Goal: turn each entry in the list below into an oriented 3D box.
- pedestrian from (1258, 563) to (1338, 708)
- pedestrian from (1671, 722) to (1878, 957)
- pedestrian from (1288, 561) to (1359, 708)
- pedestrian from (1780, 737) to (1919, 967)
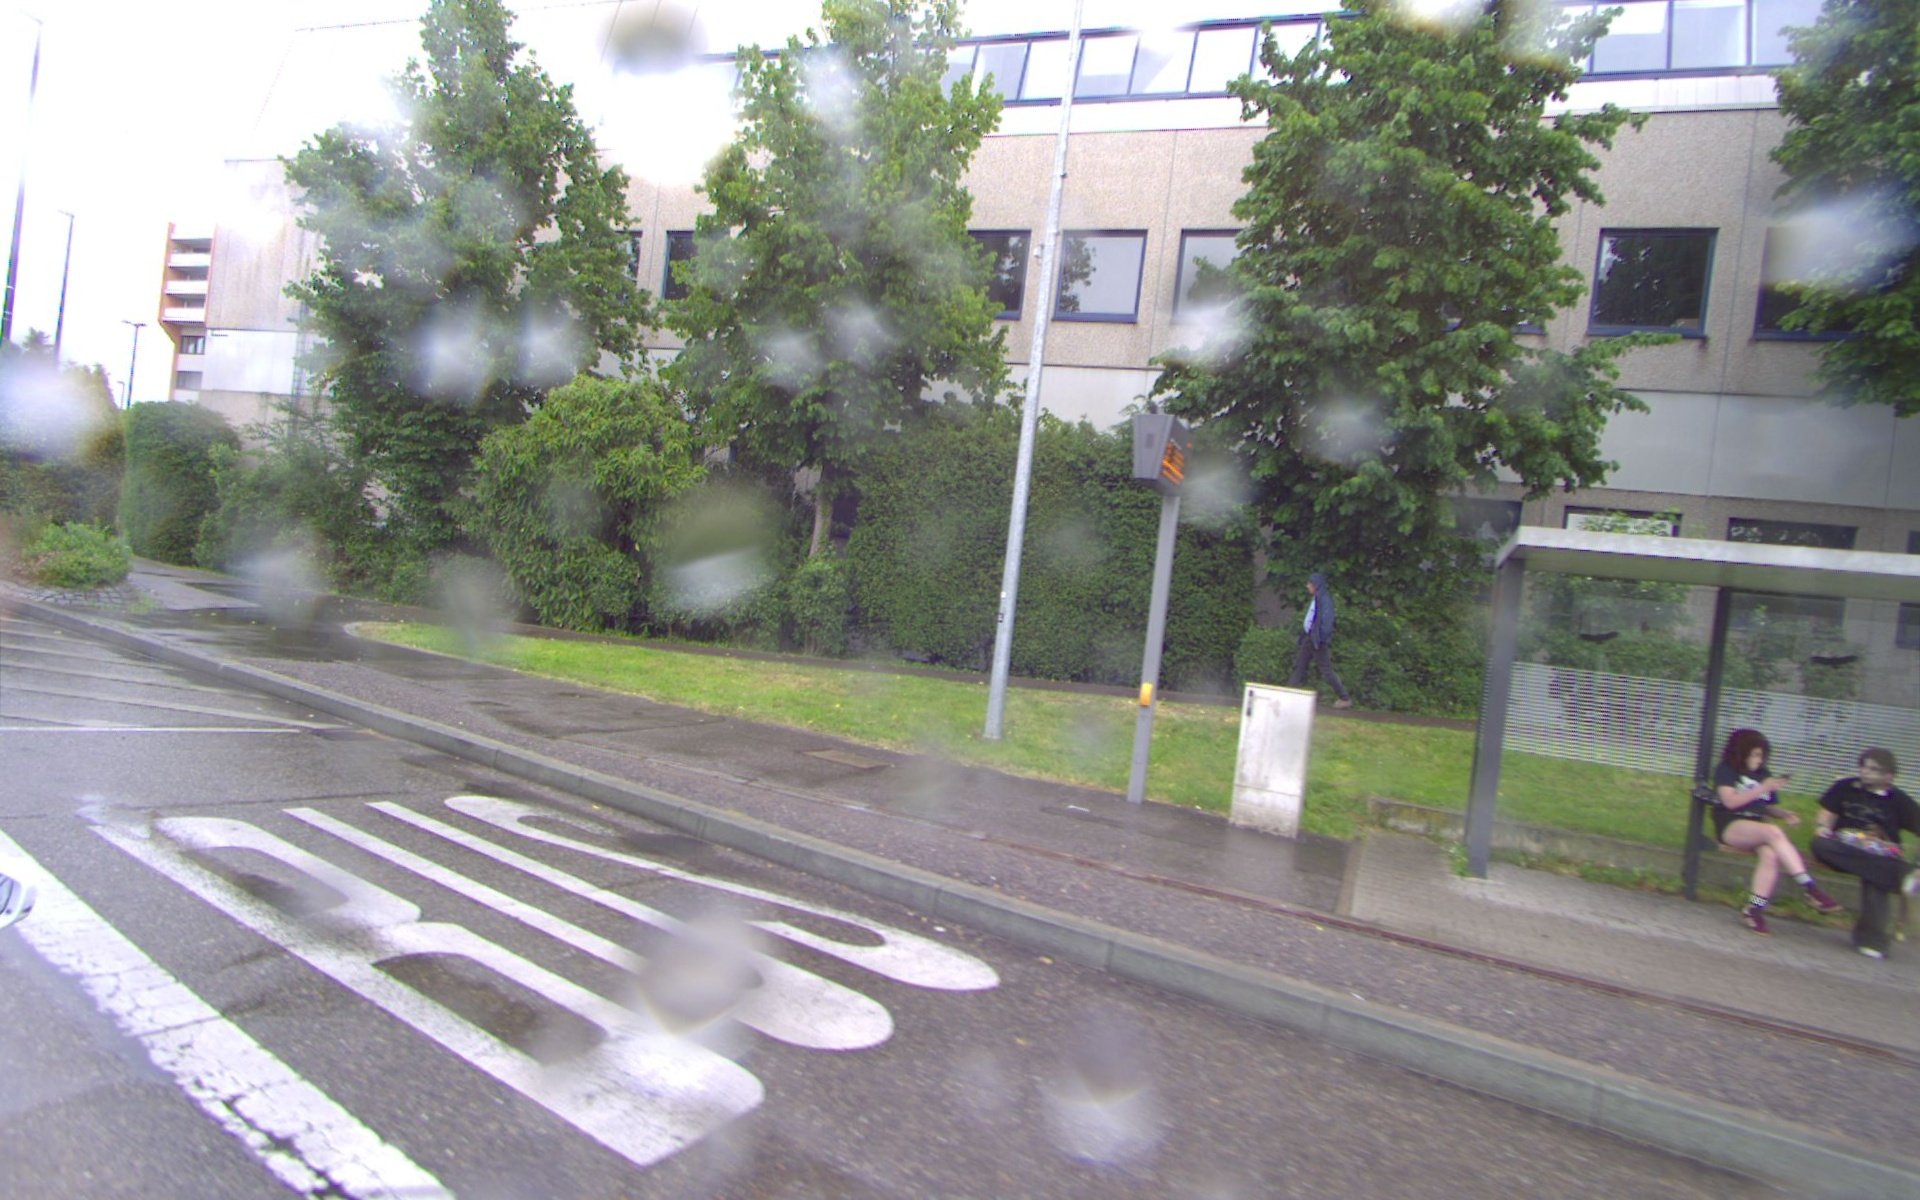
[{"bbox_3d":[4.589,0.492,13.632,0.782,1.817,0.850,7,0,21],"label":"pedestrian"},{"bbox_3d":[5.547,1.583,6.931,0.679,1.298,1.032,7,2,21],"label":"pedestrian"},{"bbox_3d":[4.787,0.454,13.273,0.661,1.819,0.674,7,0,19],"label":"pedestrian"},{"bbox_3d":[6.286,1.680,6.833,0.679,1.298,1.032,7,2,21],"label":"pedestrian"}]
